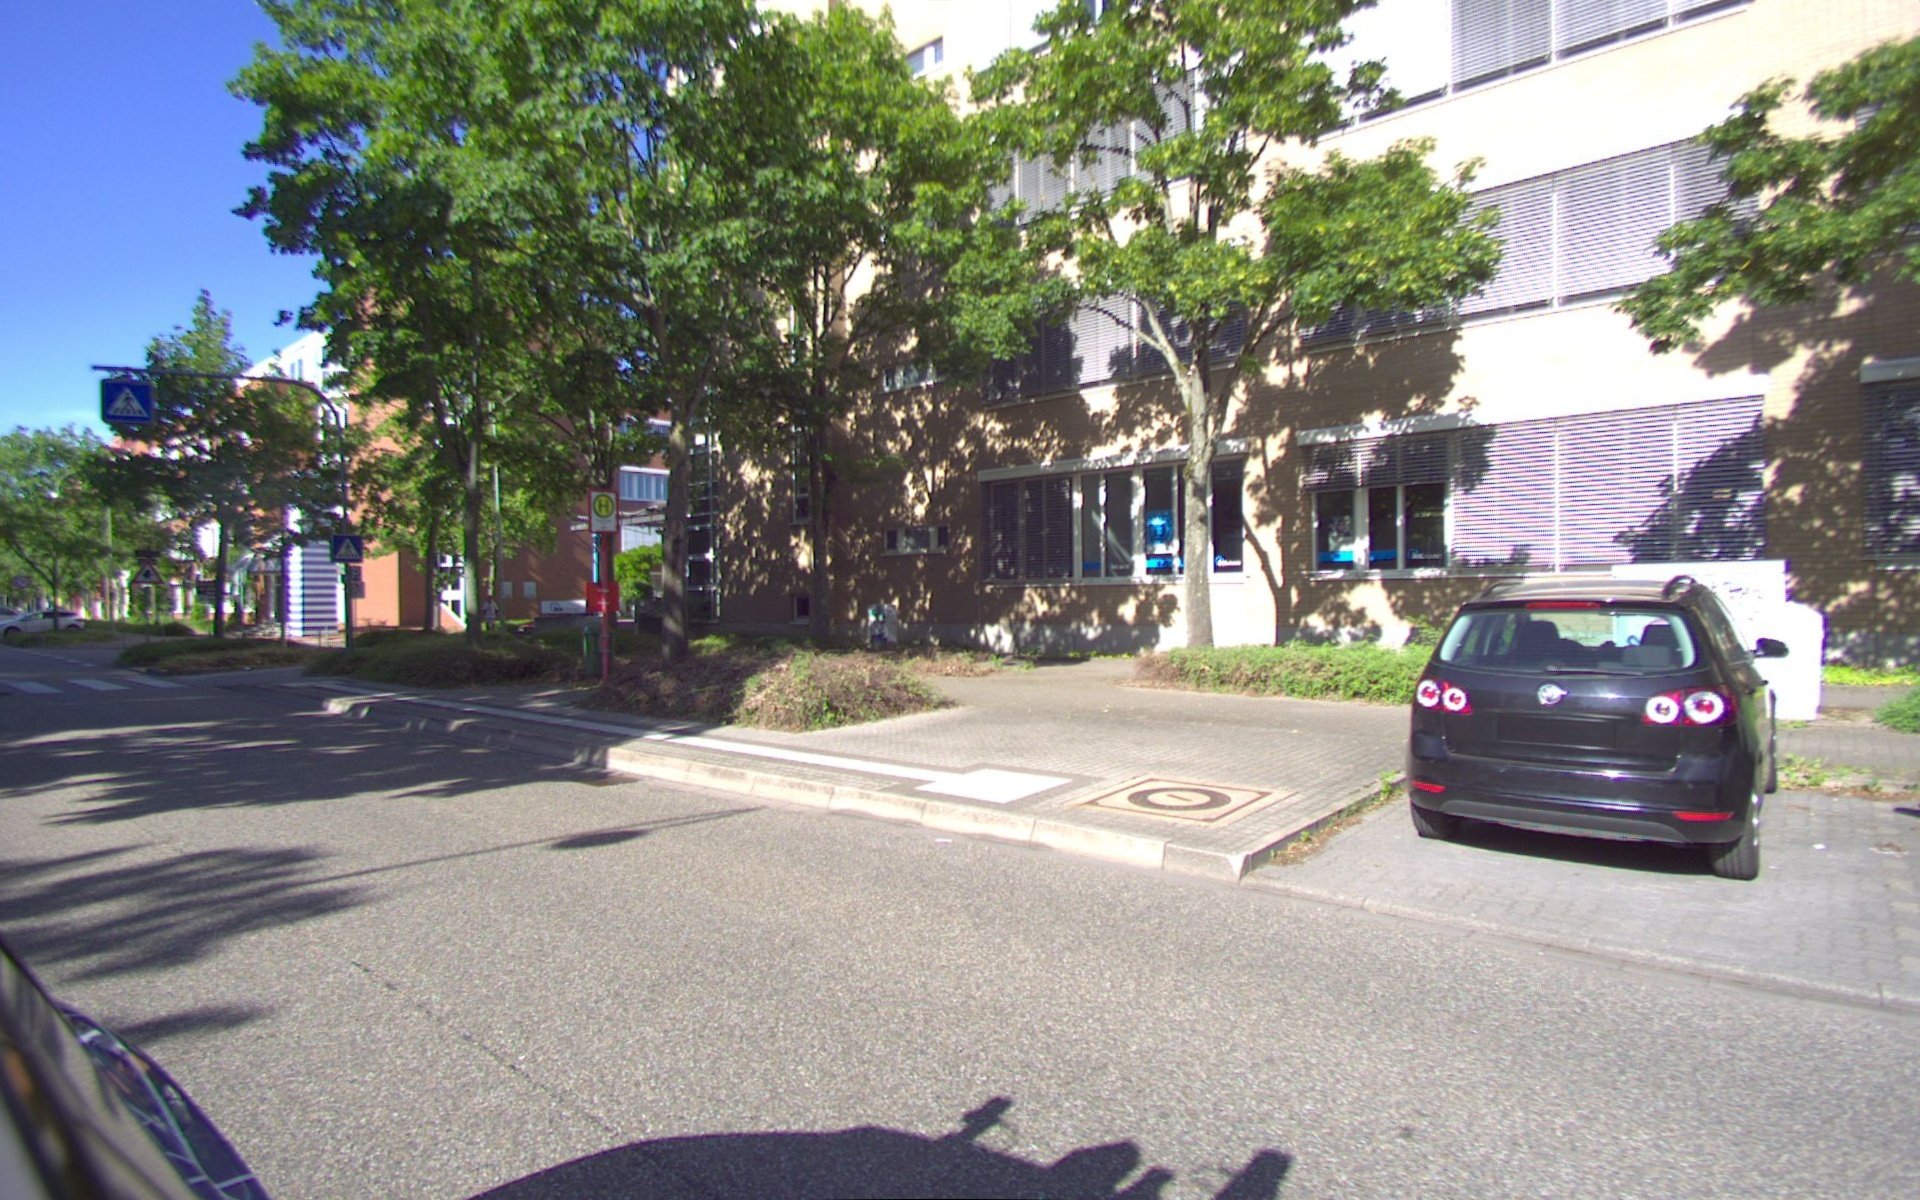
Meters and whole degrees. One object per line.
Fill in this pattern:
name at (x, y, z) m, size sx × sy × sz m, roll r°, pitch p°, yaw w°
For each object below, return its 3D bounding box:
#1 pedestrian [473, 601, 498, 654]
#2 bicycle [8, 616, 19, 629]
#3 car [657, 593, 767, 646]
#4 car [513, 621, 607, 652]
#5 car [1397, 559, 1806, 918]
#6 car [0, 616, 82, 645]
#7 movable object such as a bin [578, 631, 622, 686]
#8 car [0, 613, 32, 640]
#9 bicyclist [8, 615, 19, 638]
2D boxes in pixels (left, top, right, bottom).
pedestrian at (-17.415, 1.013, 37.131) m, size 0.672 × 1.932 × 0.615 m, roll -1°, pitch -1°, yaw 43°
bicycle at (-86.071, 2.008, 92.009) m, size 0.628 × 1.107 × 2.156 m, roll -3°, pitch 3°, yaw -45°
car at (-12.647, 0.959, 51.947) m, size 1.922 × 2.588 × 5.405 m, roll -1°, pitch 0°, yaw 40°
car at (-21.629, 1.950, 54.789) m, size 1.847 × 1.463 × 4.379 m, roll -1°, pitch 0°, yaw 42°
car at (4.433, 0.589, 6.692) m, size 1.727 × 1.582 × 3.947 m, roll -1°, pitch 2°, yaw 40°
car at (-51.500, 1.687, 56.209) m, size 1.617 × 1.430 × 3.953 m, roll -1°, pitch 1°, yaw 40°
movable object such as a bin at (-5.133, 0.821, 14.426) m, size 0.436 × 0.736 × 0.408 m, roll -2°, pitch 1°, yaw -45°
car at (-68.602, 1.875, 70.823) m, size 2.000 × 1.901 × 5.247 m, roll -1°, pitch -1°, yaw 42°
bicyclist at (-85.990, 2.384, 91.917) m, size 0.609 × 2.029 × 0.625 m, roll -1°, pitch 1°, yaw 44°
